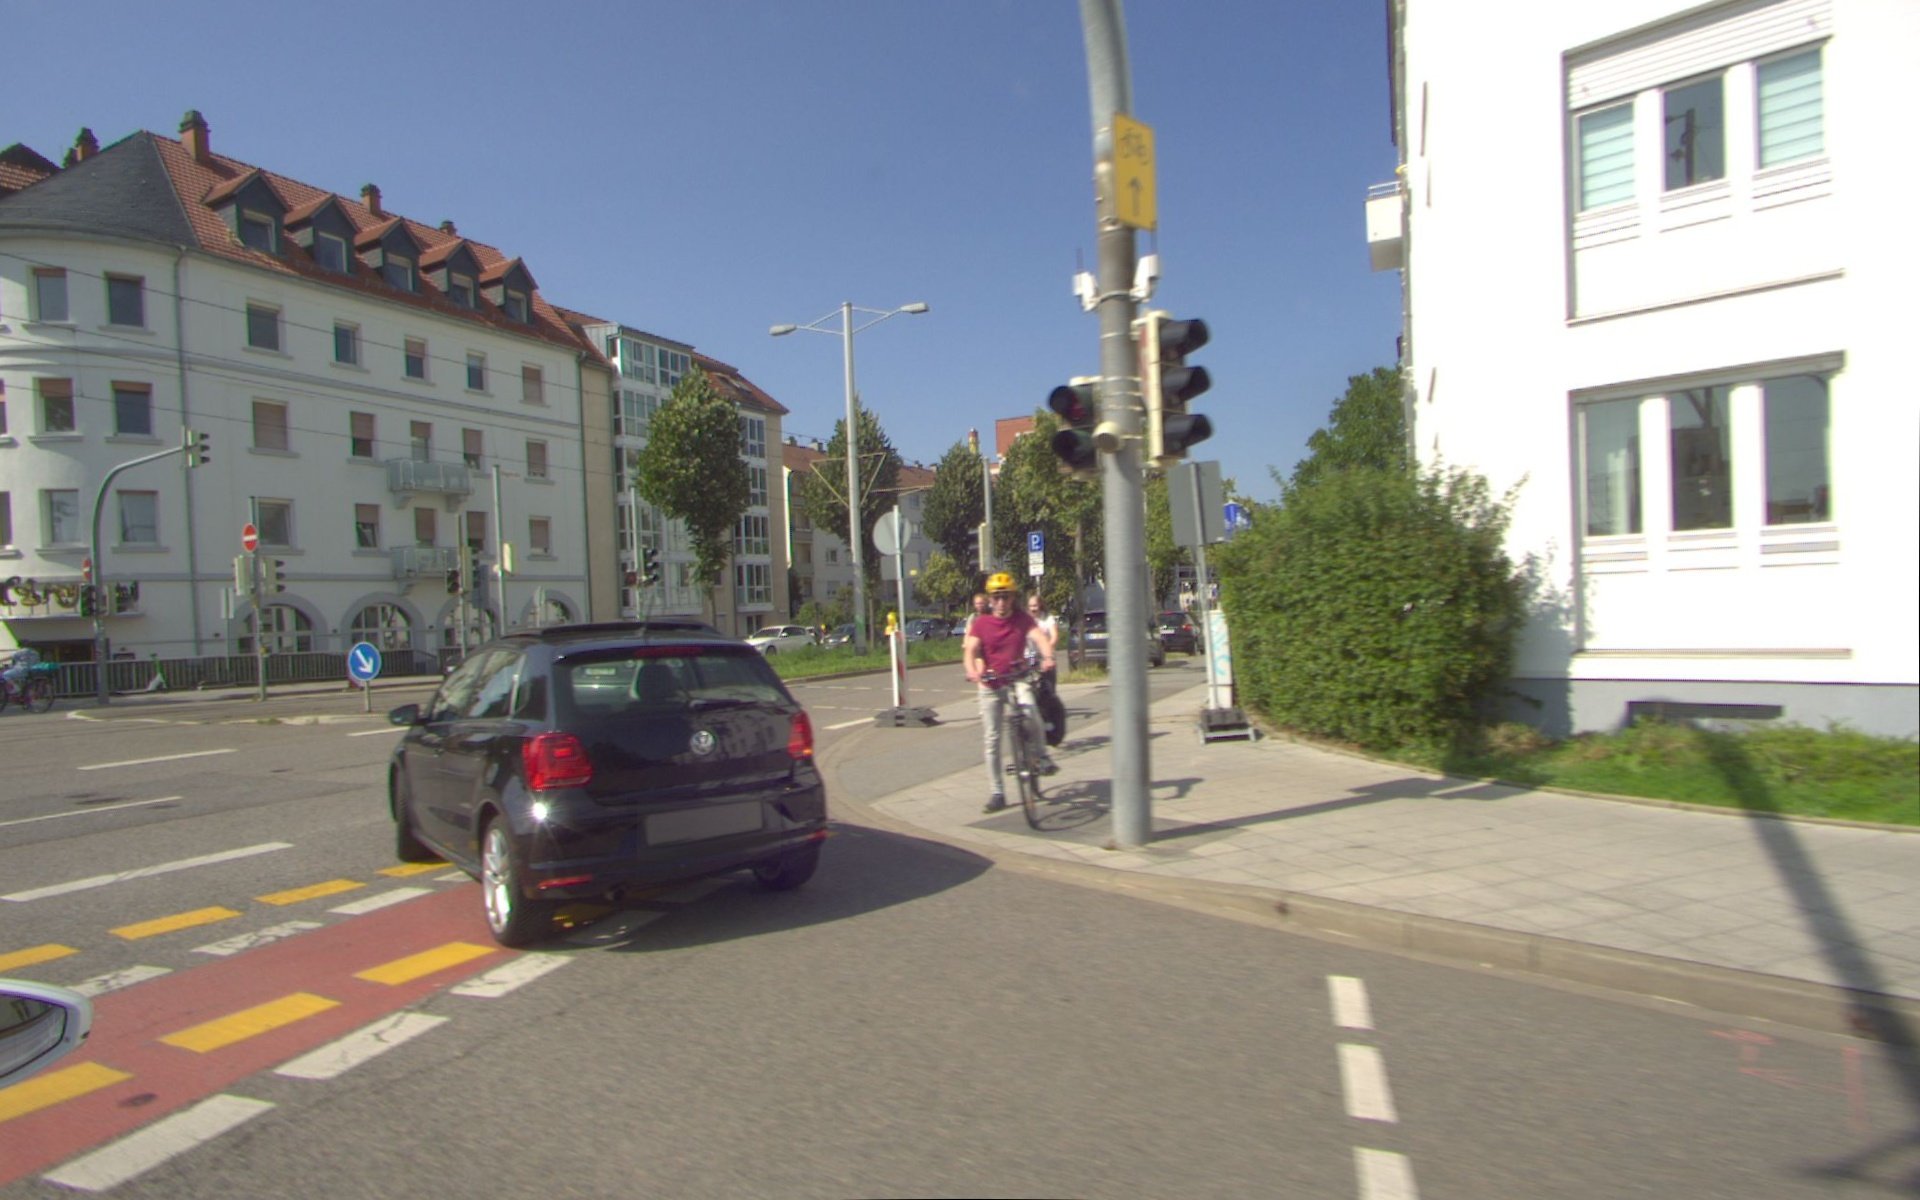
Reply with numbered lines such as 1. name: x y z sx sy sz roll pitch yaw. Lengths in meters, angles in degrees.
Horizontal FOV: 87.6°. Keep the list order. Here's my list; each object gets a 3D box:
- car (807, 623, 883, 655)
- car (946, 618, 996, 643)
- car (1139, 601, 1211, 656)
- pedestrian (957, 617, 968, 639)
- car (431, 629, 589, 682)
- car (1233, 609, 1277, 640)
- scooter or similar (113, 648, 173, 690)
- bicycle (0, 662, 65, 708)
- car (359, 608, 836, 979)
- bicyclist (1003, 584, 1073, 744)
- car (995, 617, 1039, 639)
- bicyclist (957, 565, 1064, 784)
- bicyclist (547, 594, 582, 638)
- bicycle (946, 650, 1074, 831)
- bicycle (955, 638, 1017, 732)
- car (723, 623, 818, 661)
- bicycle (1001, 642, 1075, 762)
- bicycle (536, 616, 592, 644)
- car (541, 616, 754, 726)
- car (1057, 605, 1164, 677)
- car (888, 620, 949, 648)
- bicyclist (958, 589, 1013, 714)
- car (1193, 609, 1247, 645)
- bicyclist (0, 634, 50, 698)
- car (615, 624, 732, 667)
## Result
1. car: -5.400 1.812 47.620 1.740 1.371 3.987 -3 -2 25
2. car: 0.700 1.837 60.882 1.738 1.371 3.991 -3 -2 21
3. car: 7.248 0.934 33.515 1.711 1.658 3.731 -3 -1 22
4. pedestrian: 0.223 2.315 82.200 0.589 1.786 0.750 -2 0 23
5. car: -13.204 1.610 29.631 1.742 1.338 3.982 -3 -2 30
6. car: 15.534 1.270 52.662 1.712 1.503 3.729 -3 -1 24
7. scooter or similar: -23.543 1.987 28.864 1.291 1.132 0.336 -1 -1 -43
8. bicycle: -21.834 1.974 23.235 2.212 1.002 0.865 -3 -2 28
9. car: -2.395 0.835 6.024 1.576 1.512 3.632 0 -1 -39
10. bicyclist: 0.838 0.661 10.563 0.612 1.599 0.917 -2 -1 9
11. car: 3.870 1.857 67.504 1.738 1.371 3.991 -3 -2 21
12. bicyclist: 0.391 0.529 7.387 0.587 1.497 0.917 -2 -1 14
13. bicyclist: -15.775 0.626 39.978 0.798 1.676 1.002 5 3 38
14. bicycle: 0.423 0.970 7.460 0.593 1.113 1.813 -2 -1 13
15. bicycle: 0.374 1.106 13.509 0.607 1.114 1.786 -2 0 7
16. car: -7.785 1.716 41.453 1.741 1.371 3.985 -3 -2 27
17. bicycle: 0.854 1.031 10.594 0.616 1.113 1.786 -2 -1 9
18. bicycle: -15.802 1.182 39.990 0.811 1.034 1.899 2 1 37
19. car: -4.964 1.059 16.433 1.665 1.576 3.653 0 -1 14
20. car: 3.904 0.994 25.471 1.712 1.658 3.729 -3 -1 24
21. car: -2.227 1.848 54.526 1.739 1.371 3.989 -3 -2 23
22. bicyclist: 0.357 0.681 13.492 0.612 1.610 0.918 -2 -1 7
23. car: 11.807 1.201 45.295 1.712 1.503 3.729 -3 -1 24
24. bicyclist: -21.940 1.538 23.290 0.903 1.433 0.864 -3 -1 28
25. car: -10.248 1.621 36.070 1.741 1.371 3.984 -3 -2 28
